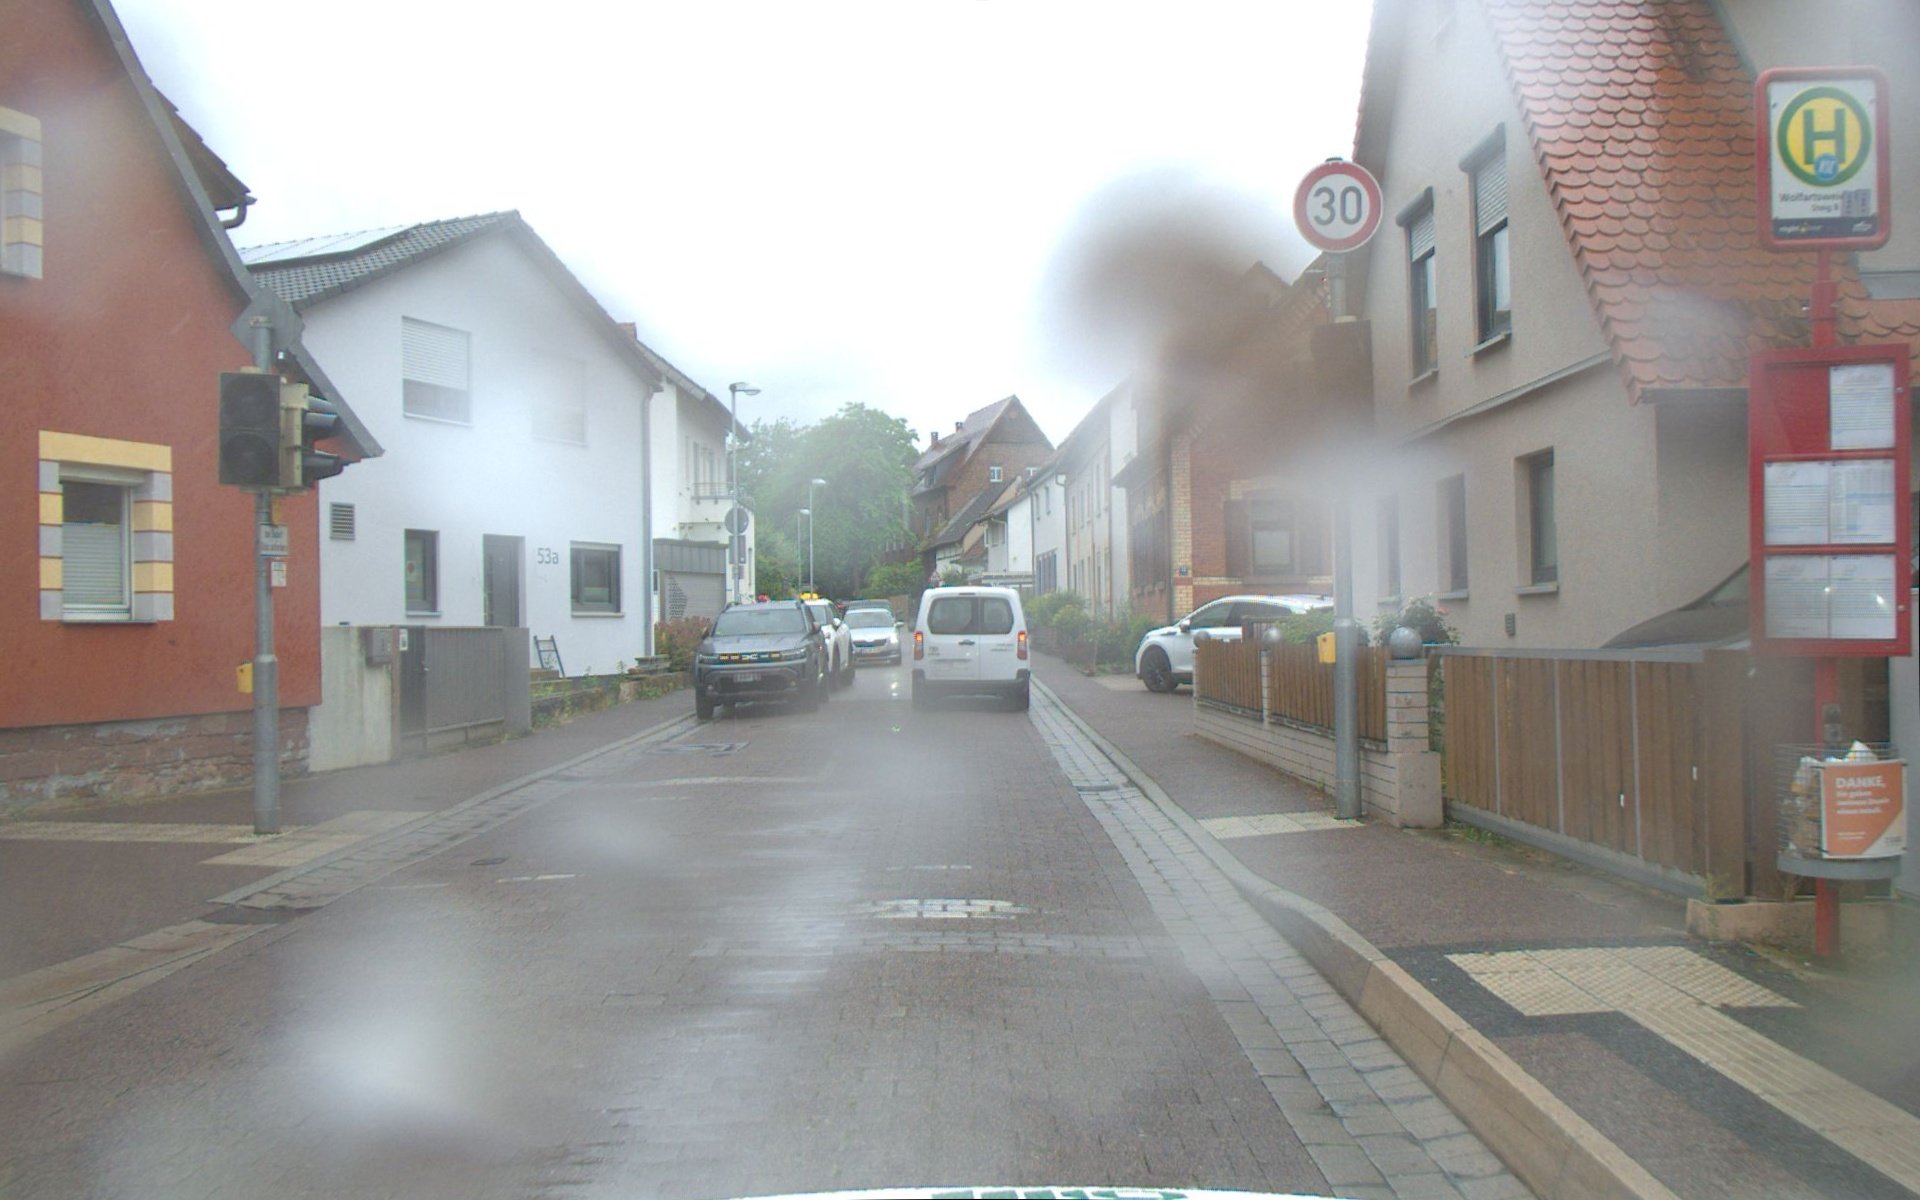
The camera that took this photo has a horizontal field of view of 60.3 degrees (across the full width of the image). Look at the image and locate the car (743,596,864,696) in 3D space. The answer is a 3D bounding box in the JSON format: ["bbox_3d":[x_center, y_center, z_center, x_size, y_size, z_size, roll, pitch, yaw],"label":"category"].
[{"bbox_3d":[-2.907,0.846,31.546,1.712,1.665,4.419,-4,-1,1],"label":"car"}]

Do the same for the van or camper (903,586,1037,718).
[{"bbox_3d":[0.147,0.752,25.767,1.903,1.883,4.000,1,0,0],"label":"van or camper"}]

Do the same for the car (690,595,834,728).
[{"bbox_3d":[-2.950,0.864,25.398,1.775,1.810,4.016,-2,0,-2],"label":"car"}]

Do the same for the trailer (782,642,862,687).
[{"bbox_3d":[-2.911,1.359,35.253,1.453,0.843,2.675,-3,-1,-1],"label":"trailer"}]

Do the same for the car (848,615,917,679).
[{"bbox_3d":[-2.109,1.249,44.166,1.656,1.592,3.929,-2,-1,-5],"label":"car"}]

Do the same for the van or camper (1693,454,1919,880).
[{"bbox_3d":[6.726,0.343,8.675,4.968,1.957,1.875,1,0,-3],"label":"van or camper"}]

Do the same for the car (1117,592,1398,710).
[{"bbox_3d":[4.654,0.732,26.537,1.853,1.617,4.569,0,2,-32],"label":"car"}]
